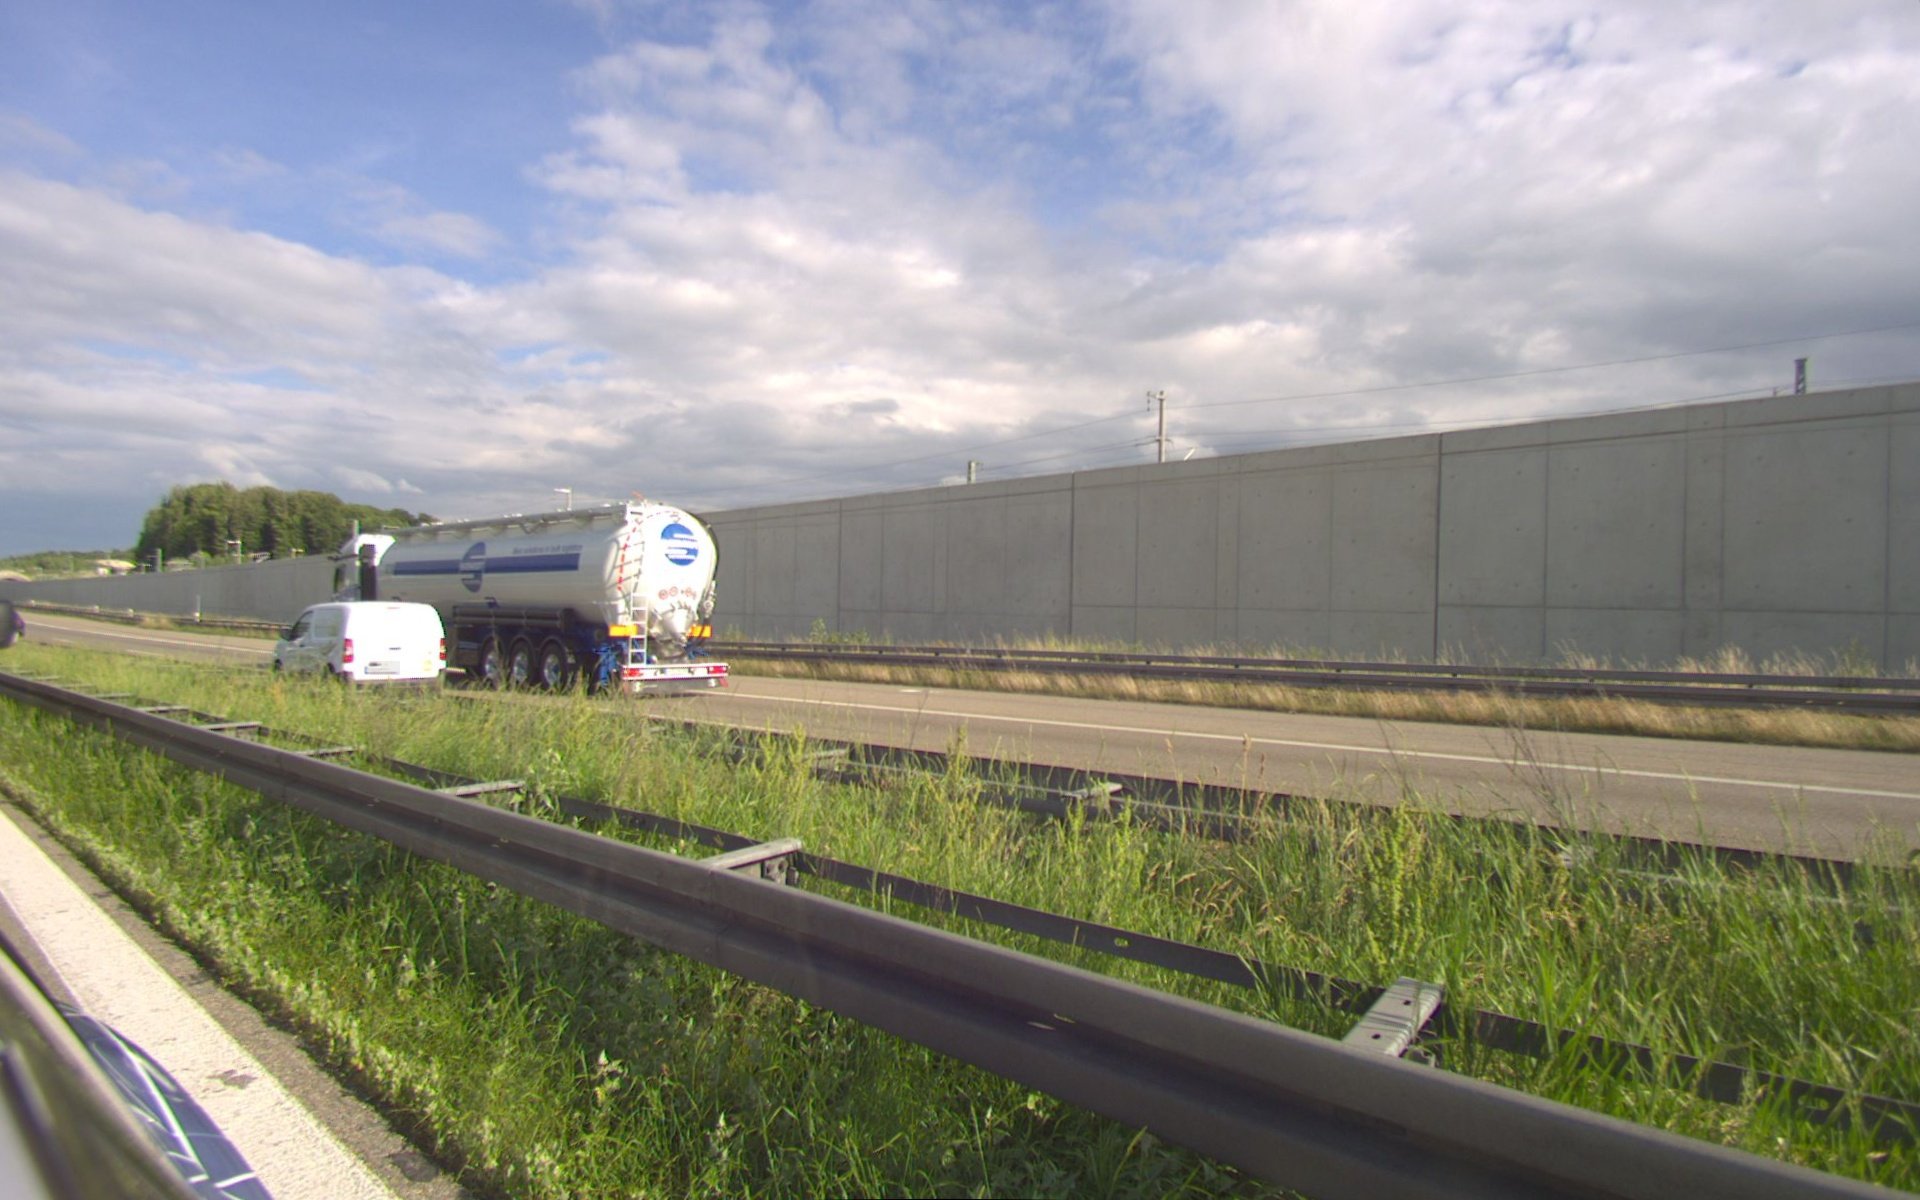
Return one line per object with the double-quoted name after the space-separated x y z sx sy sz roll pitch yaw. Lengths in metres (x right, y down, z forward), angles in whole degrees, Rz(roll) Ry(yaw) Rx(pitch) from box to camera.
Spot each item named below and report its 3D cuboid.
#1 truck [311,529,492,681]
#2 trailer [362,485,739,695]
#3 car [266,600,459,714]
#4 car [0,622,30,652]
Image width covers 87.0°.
-15.585 0.179 28.132 5.412 3.827 2.527 0 -2 40 "truck"
-10.032 -0.111 23.371 12.532 3.799 2.514 0 -2 41 "trailer"
-11.056 0.942 18.613 4.279 1.847 1.840 0 0 42 "car"
-52.350 1.994 55.306 4.689 1.528 1.784 0 0 42 "car"
